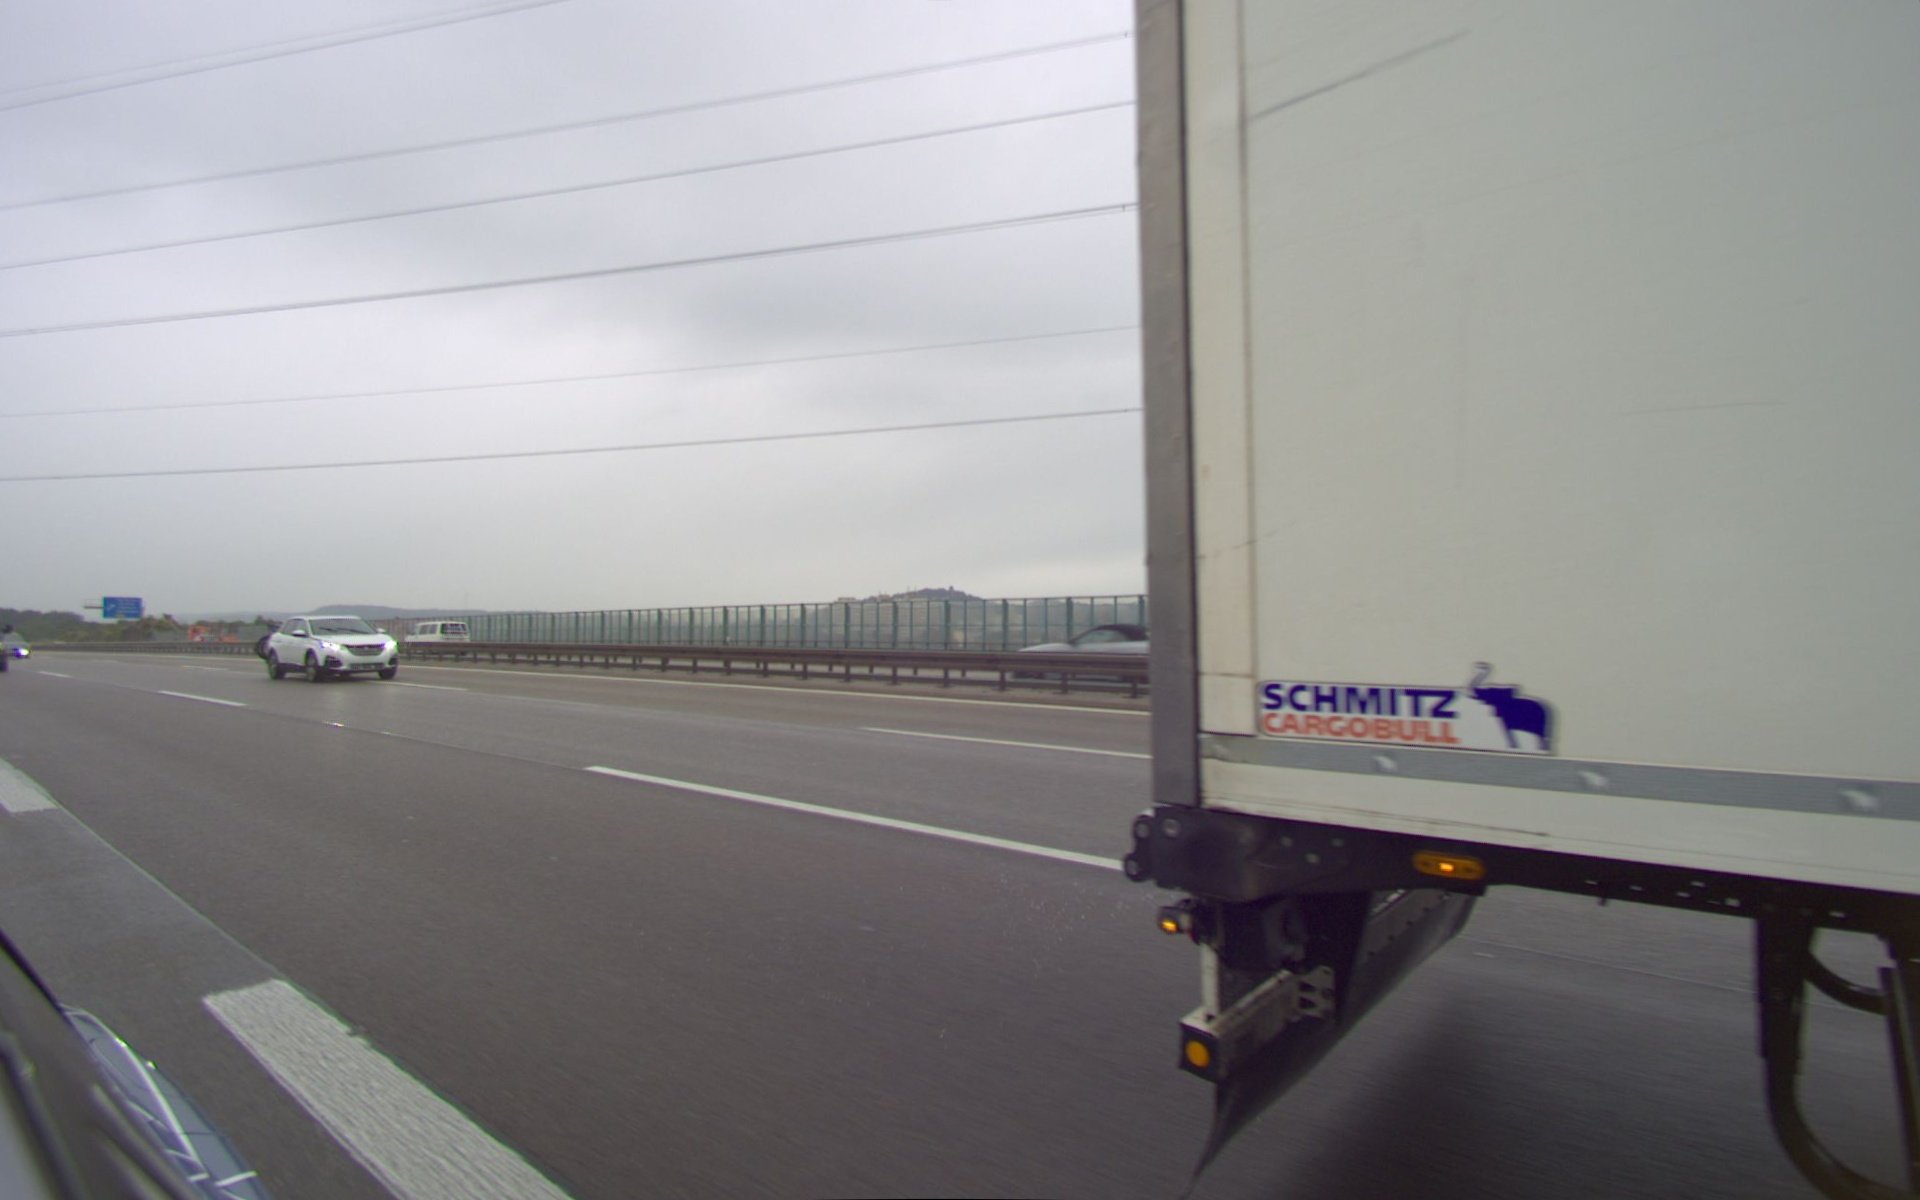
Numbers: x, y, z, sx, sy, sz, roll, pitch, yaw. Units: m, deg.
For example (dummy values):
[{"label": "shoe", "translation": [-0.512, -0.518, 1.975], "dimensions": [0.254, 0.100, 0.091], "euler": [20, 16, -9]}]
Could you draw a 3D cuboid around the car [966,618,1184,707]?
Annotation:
[{"label": "car", "translation": [2.442, 1.318, 22.101], "dimensions": [4.464, 1.757, 1.822], "euler": [-1, -4, 40]}]

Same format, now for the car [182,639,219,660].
[{"label": "car", "translation": [-64.023, 4.185, 85.319], "dimensions": [3.783, 1.596, 1.609], "euler": [-3, 4, 41]}]

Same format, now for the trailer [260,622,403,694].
[{"label": "trailer", "translation": [-15.720, 1.401, 25.212], "dimensions": [4.566, 1.637, 1.796], "euler": [-2, -2, 41]}]

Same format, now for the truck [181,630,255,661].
[{"label": "truck", "translation": [-81.581, 4.920, 111.115], "dimensions": [14.315, 2.856, 3.572], "euler": [0, 0, 41]}]

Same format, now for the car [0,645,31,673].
[{"label": "car", "translation": [-51.919, 3.190, 55.021], "dimensions": [4.828, 1.413, 1.707], "euler": [-3, -2, 43]}]

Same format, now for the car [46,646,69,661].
[{"label": "car", "translation": [-122.204, 7.280, 137.065], "dimensions": [3.998, 1.785, 1.879], "euler": [-1, 0, 41]}]

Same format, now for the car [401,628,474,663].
[{"label": "car", "translation": [-27.821, 2.373, 53.825], "dimensions": [4.464, 1.757, 1.901], "euler": [-1, -1, 40]}]

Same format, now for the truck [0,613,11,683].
[{"label": "truck", "translation": [-35.143, 1.659, 35.433], "dimensions": [6.104, 2.355, 1.974], "euler": [-1, -2, 39]}]
